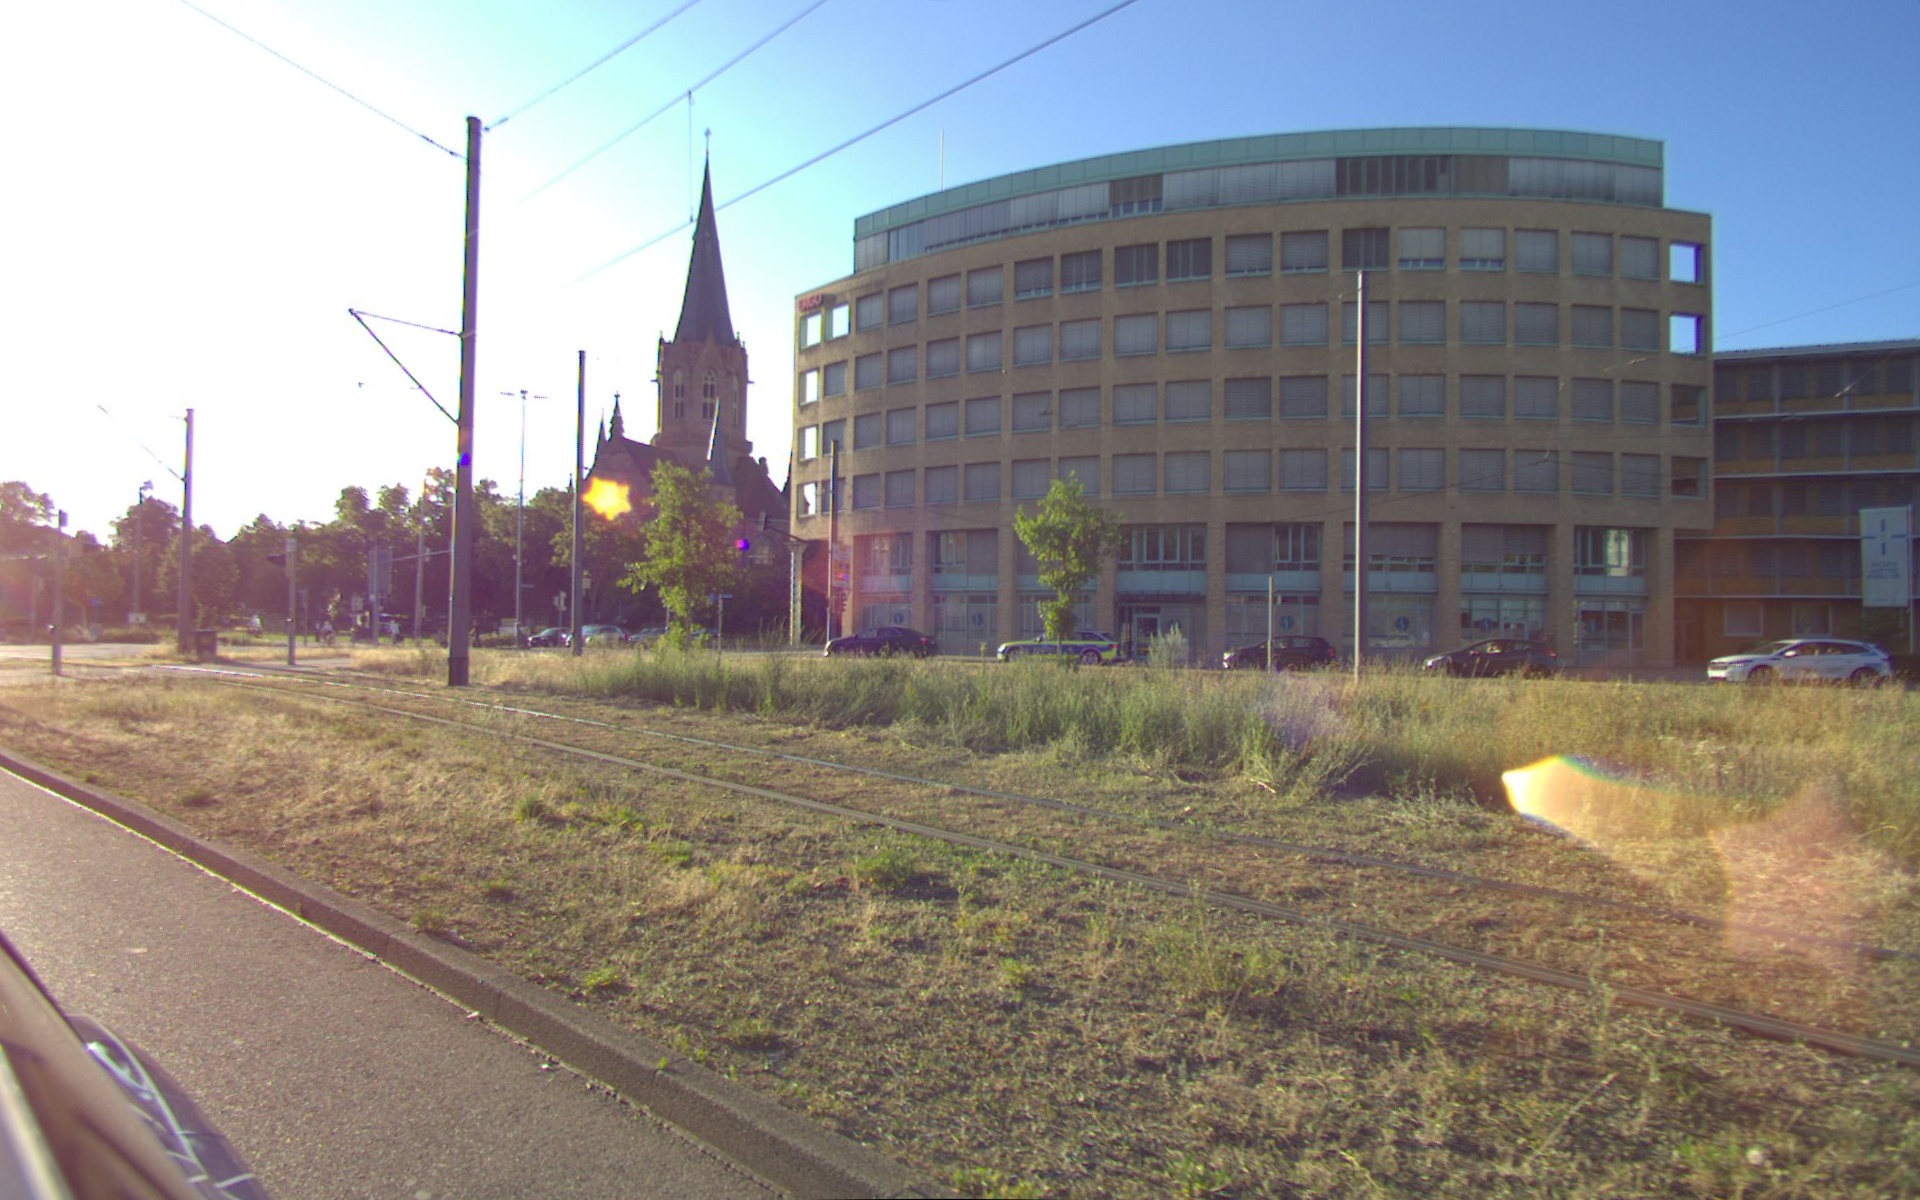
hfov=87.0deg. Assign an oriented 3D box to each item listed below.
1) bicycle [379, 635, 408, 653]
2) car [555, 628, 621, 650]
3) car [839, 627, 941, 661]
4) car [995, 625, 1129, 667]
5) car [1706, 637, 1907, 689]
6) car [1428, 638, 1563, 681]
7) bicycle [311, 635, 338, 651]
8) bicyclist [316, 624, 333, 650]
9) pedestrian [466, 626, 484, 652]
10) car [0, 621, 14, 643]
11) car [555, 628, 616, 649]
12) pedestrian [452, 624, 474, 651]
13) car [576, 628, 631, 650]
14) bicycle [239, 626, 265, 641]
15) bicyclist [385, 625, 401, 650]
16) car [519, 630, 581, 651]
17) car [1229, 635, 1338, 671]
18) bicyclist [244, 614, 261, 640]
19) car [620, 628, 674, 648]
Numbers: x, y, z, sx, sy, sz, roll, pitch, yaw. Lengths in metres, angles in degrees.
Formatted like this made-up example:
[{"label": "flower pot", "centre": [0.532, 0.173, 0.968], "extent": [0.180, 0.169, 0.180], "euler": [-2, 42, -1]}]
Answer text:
[{"label": "bicycle", "centre": [-36.136, 2.798, 64.563], "extent": [1.905, 1.155, 0.457], "euler": [0, -1, 20]}, {"label": "car", "centre": [-24.635, 2.566, 67.179], "extent": [1.891, 1.431, 3.967], "euler": [0, -2, 24]}, {"label": "car", "centre": [-2.829, 1.771, 41.124], "extent": [3.762, 1.292, 1.718], "euler": [0, -2, 21]}, {"label": "car", "centre": [3.877, 1.704, 38.361], "extent": [4.749, 1.492, 1.881], "euler": [0, -2, 22]}, {"label": "car", "centre": [25.543, 1.874, 30.706], "extent": [4.267, 1.494, 1.768], "euler": [0, -2, 14]}, {"label": "car", "centre": [17.518, 1.926, 33.302], "extent": [3.714, 1.291, 1.639], "euler": [0, -2, 22]}, {"label": "bicycle", "centre": [-42.720, 2.893, 68.017], "extent": [1.917, 1.034, 0.456], "euler": [0, -1, 22]}, {"label": "bicyclist", "centre": [-42.739, 2.495, 68.072], "extent": [0.888, 1.693, 0.571], "euler": [0, -1, 21]}, {"label": "pedestrian", "centre": [-31.017, 2.495, 64.742], "extent": [0.713, 1.685, 0.732], "euler": [-1, -2, 24]}, {"label": "car", "centre": [-64.631, 2.102, 66.612], "extent": [3.852, 1.425, 1.721], "euler": [0, -2, 16]}, {"label": "car", "centre": [-26.238, 2.710, 70.999], "extent": [1.889, 1.431, 3.972], "euler": [0, -2, 21]}, {"label": "pedestrian", "centre": [-31.459, 2.348, 64.036], "extent": [1.098, 1.685, 0.732], "euler": [-1, -2, 24]}, {"label": "car", "centre": [-27.087, 2.945, 76.981], "extent": [1.812, 1.597, 3.973], "euler": [0, -2, 20]}, {"label": "bicycle", "centre": [-50.336, 2.388, 71.977], "extent": [1.916, 1.034, 0.522], "euler": [0, 0, 21]}, {"label": "bicyclist", "centre": [-36.166, 2.392, 64.581], "extent": [0.815, 1.595, 0.518], "euler": [0, -1, 21]}, {"label": "car", "centre": [-29.197, 2.855, 72.121], "extent": [1.889, 1.431, 3.972], "euler": [0, -2, 21]}, {"label": "car", "centre": [11.319, 1.834, 35.471], "extent": [3.571, 1.162, 1.515], "euler": [0, -2, 20]}, {"label": "bicyclist", "centre": [-50.257, 1.916, 71.918], "extent": [0.888, 1.841, 0.571], "euler": [0, -1, 21]}, {"label": "car", "centre": [-23.704, 2.868, 76.764], "extent": [1.889, 1.431, 3.972], "euler": [0, -2, 21]}]
